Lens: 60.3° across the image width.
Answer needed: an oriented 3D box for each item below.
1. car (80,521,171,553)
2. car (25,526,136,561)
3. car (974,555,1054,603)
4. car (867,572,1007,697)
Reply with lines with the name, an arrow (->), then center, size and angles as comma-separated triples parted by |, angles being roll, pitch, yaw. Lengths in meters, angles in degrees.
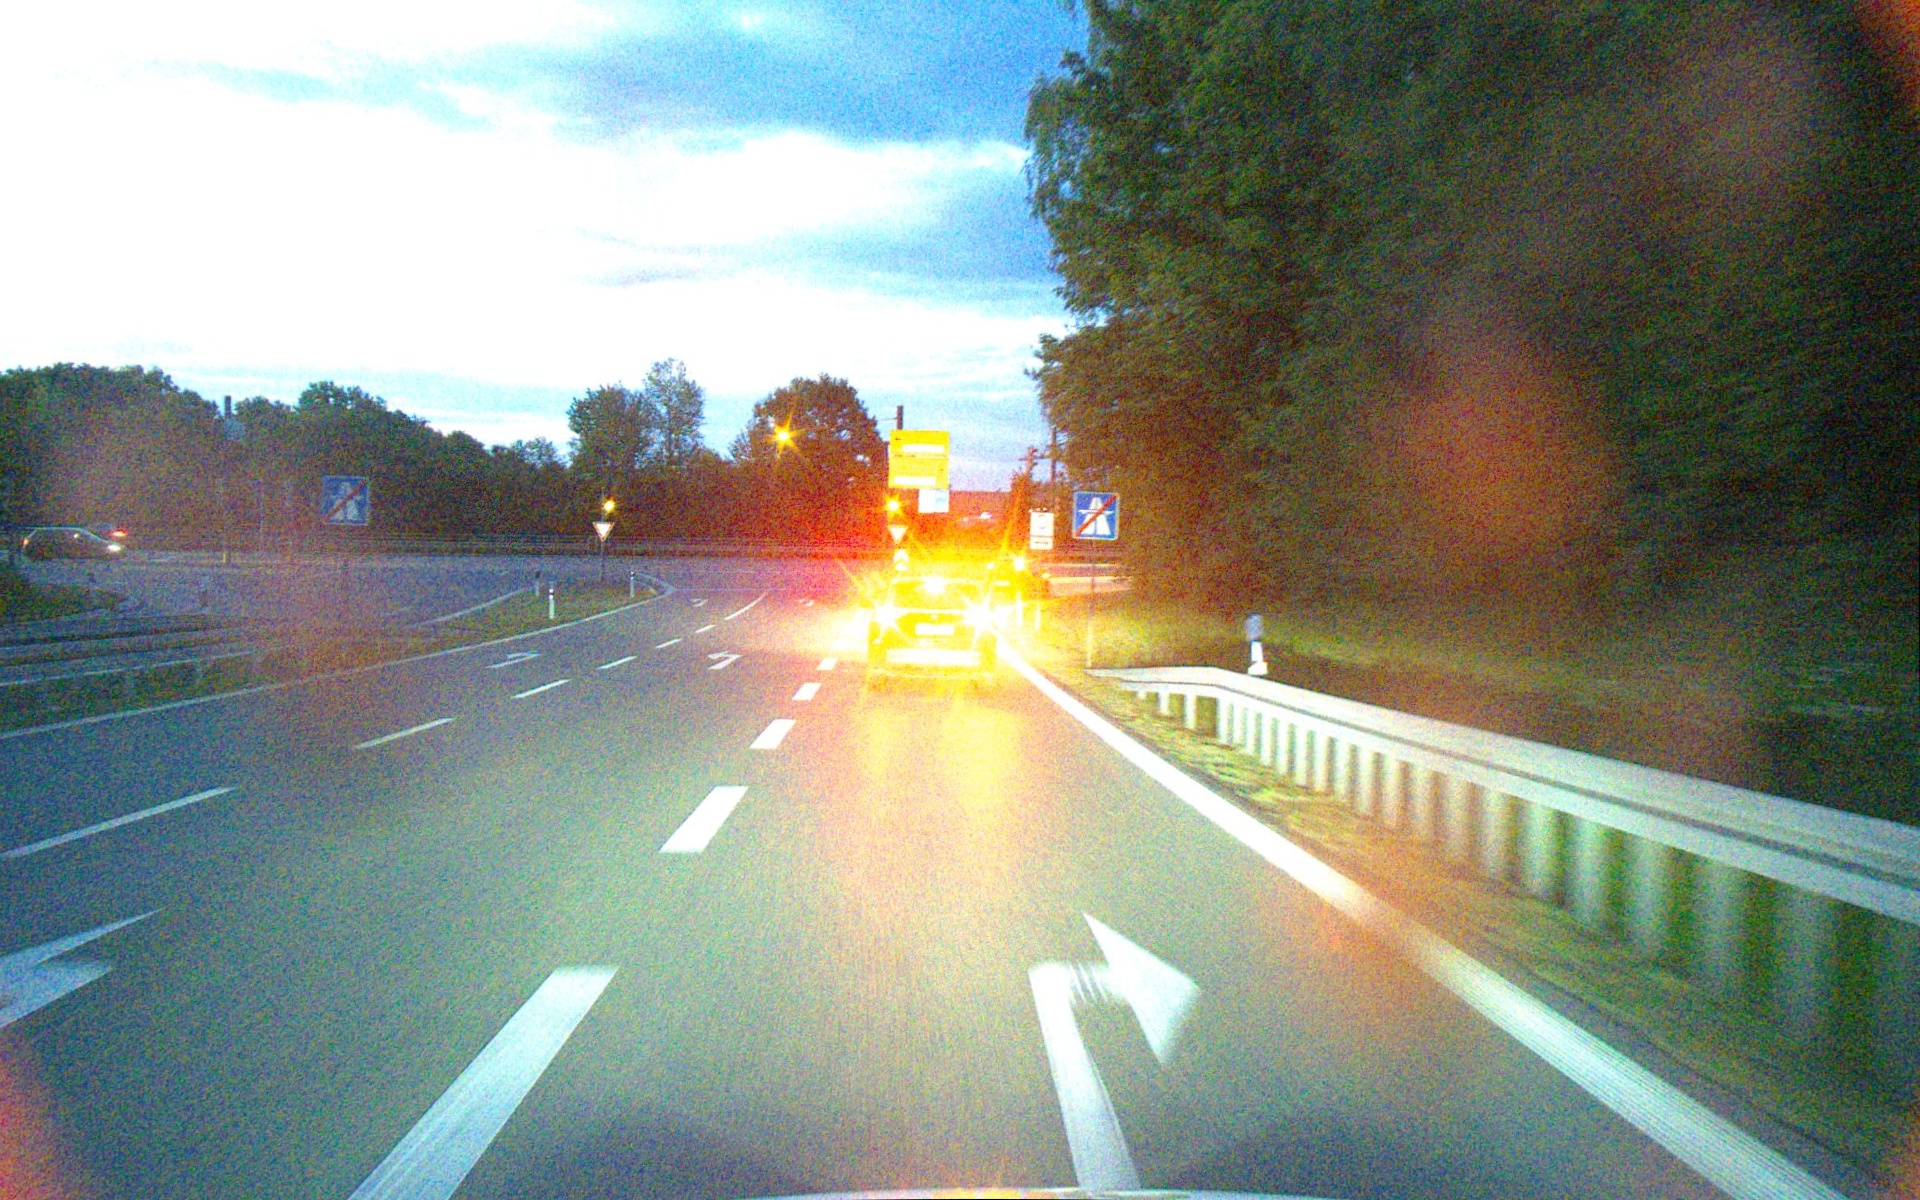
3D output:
car -> -44.092, -3.320, 87.426 | 3.923, 1.478, 1.991 | 2, 1, -17
car -> -38.063, -2.421, 71.692 | 3.924, 1.478, 1.991 | 0, 1, -17
car -> 2.049, -0.757, 61.563 | 1.744, 1.682, 4.000 | 1, -1, 21
car -> -0.427, 0.459, 24.510 | 1.863, 1.648, 4.553 | 1, 0, -3
